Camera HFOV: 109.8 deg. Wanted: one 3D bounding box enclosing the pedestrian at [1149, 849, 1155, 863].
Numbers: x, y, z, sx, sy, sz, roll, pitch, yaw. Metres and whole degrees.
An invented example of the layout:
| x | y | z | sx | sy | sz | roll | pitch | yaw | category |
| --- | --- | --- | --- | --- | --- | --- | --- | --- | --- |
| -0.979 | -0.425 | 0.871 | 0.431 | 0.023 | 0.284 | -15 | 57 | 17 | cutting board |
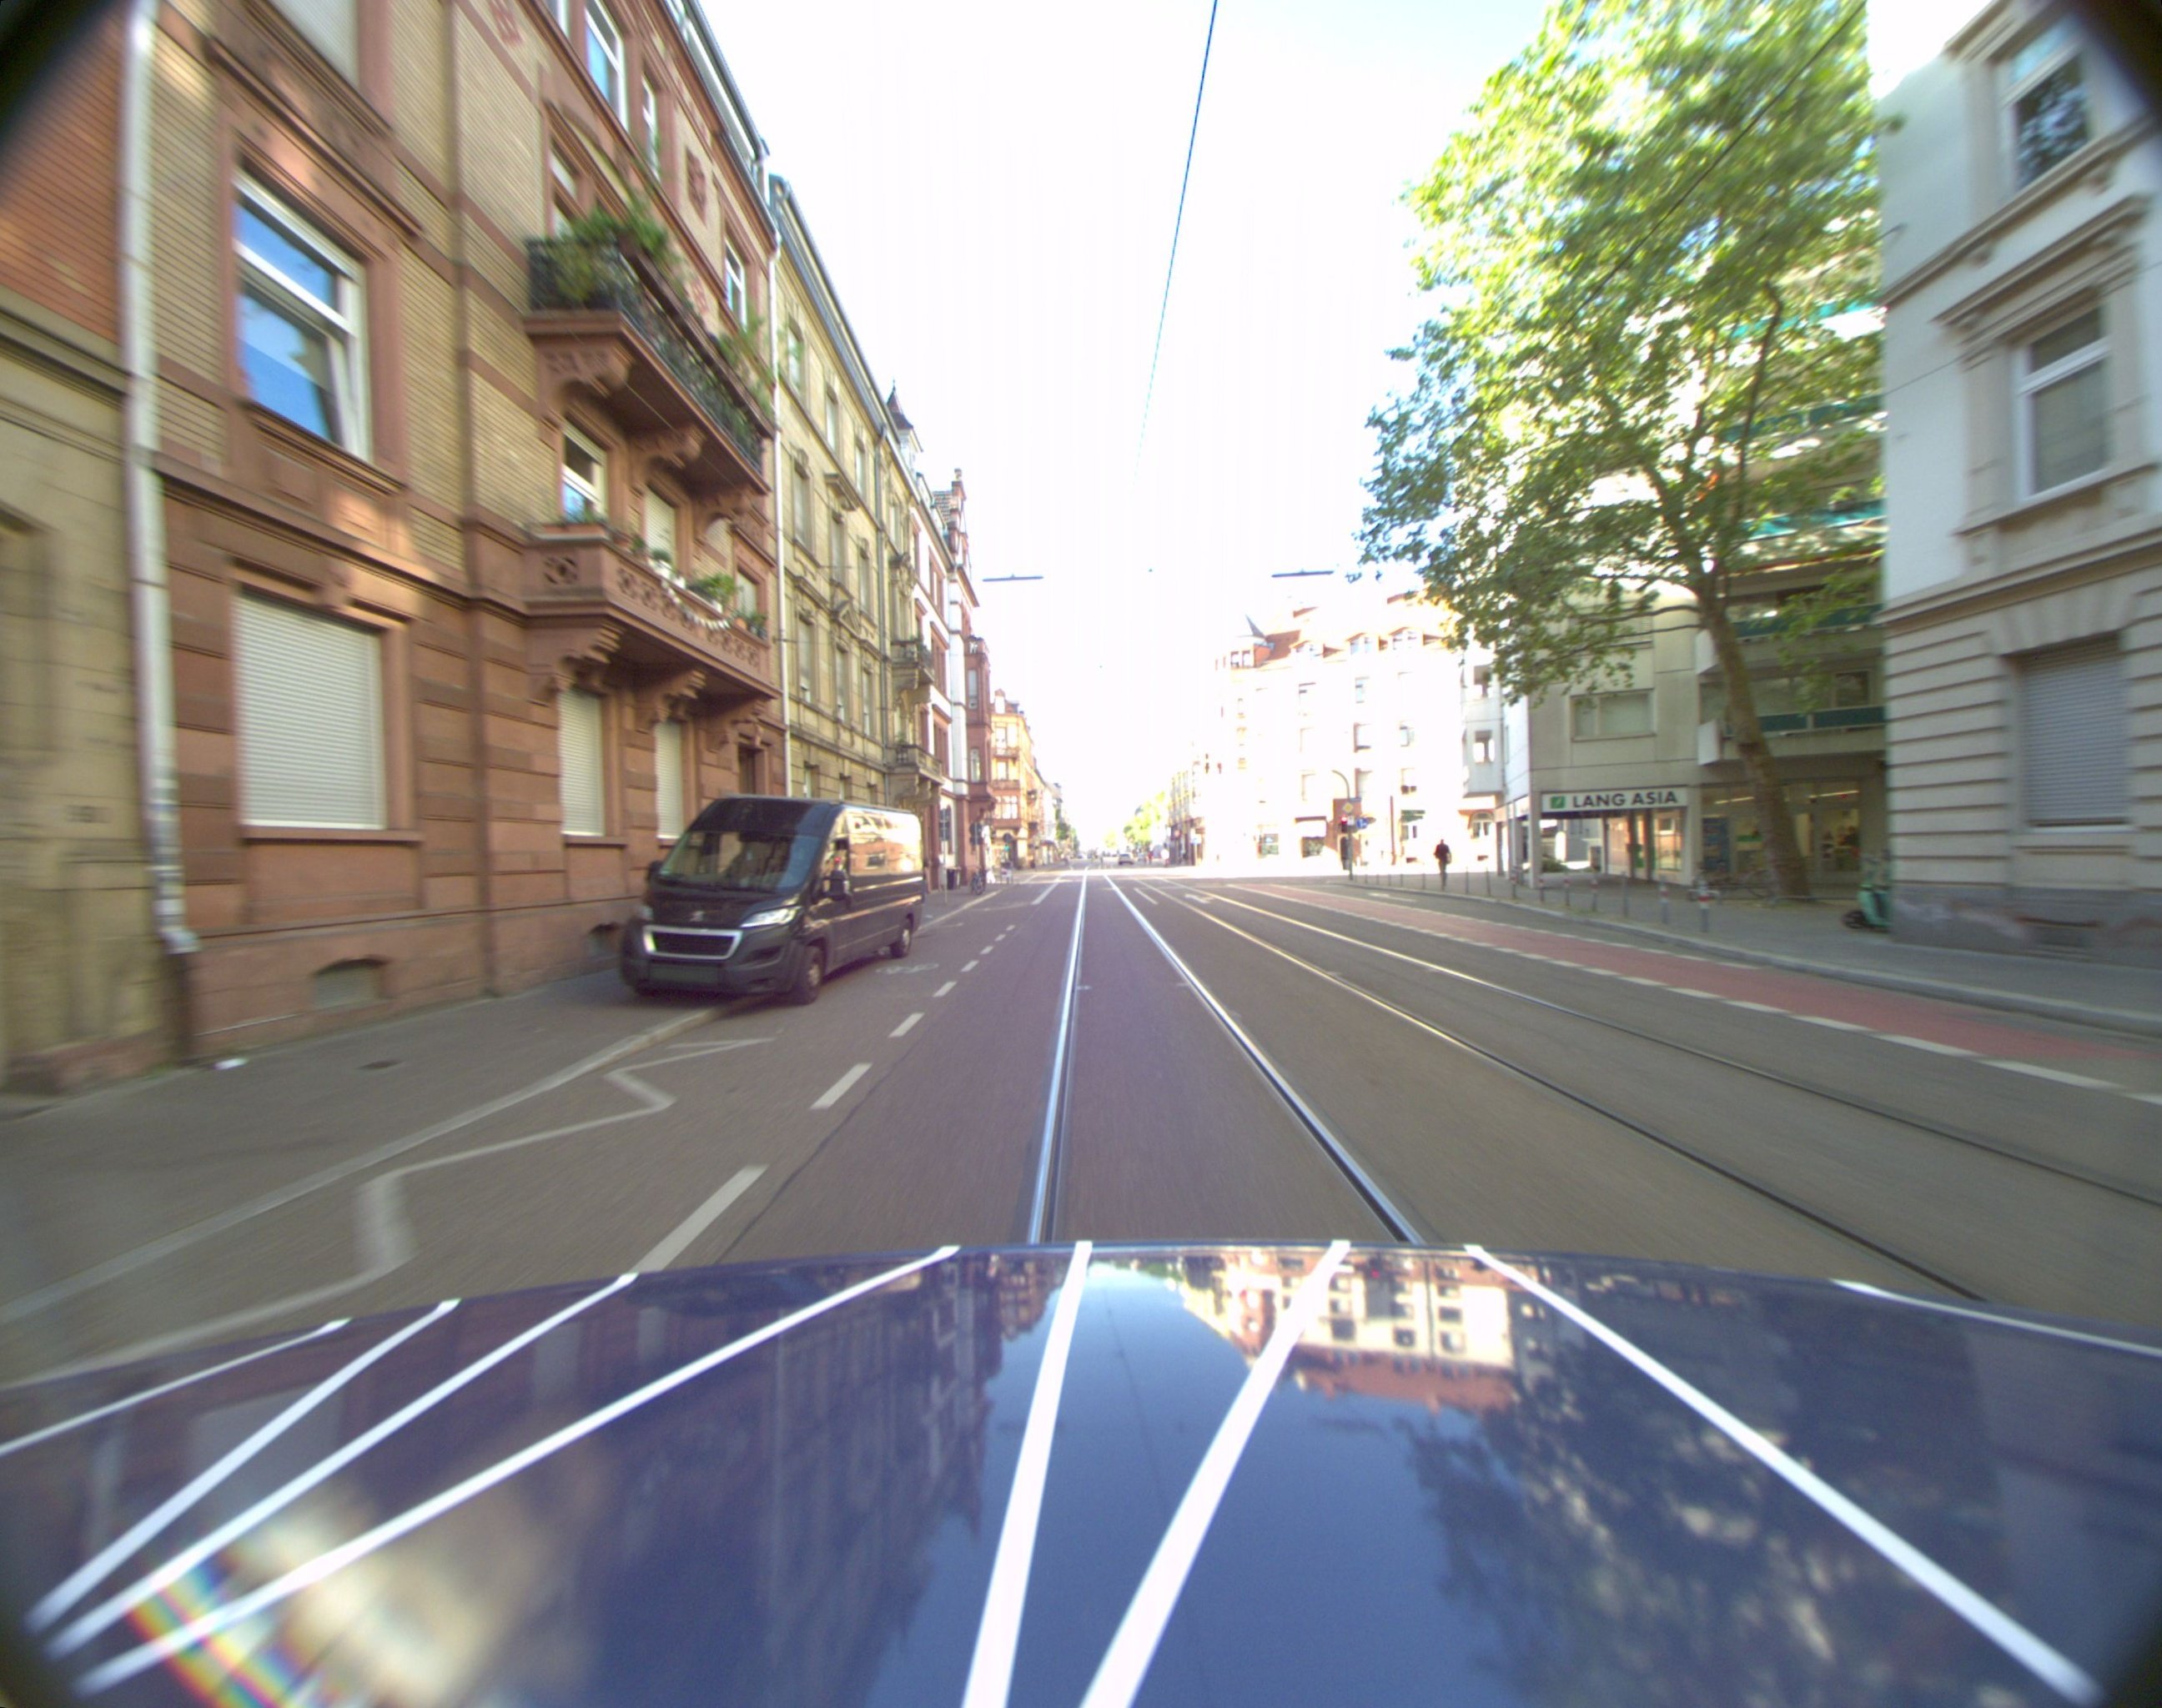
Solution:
| x | y | z | sx | sy | sz | roll | pitch | yaw | category |
| --- | --- | --- | --- | --- | --- | --- | --- | --- | --- |
| 10.208 | 0.301 | 108.856 | 0.756 | 2.002 | 0.718 | -3 | 1 | 0 | pedestrian |

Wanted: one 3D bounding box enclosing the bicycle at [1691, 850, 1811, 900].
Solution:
| x | y | z | sx | sy | sz | roll | pitch | yaw | category |
| --- | --- | --- | --- | --- | --- | --- | --- | --- | --- |
| 16.163 | 0.518 | 18.392 | 2.042 | 1.119 | 0.707 | -2 | 1 | 28 | bicycle |

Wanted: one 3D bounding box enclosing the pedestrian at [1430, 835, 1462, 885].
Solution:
| x | y | z | sx | sy | sz | roll | pitch | yaw | category |
| --- | --- | --- | --- | --- | --- | --- | --- | --- | --- |
| 13.995 | 0.216 | 29.133 | 0.795 | 1.837 | 0.809 | -3 | 1 | 4 | pedestrian |

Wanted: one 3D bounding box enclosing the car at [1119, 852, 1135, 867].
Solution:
| x | y | z | sx | sy | sz | roll | pitch | yaw | category |
| --- | --- | --- | --- | --- | --- | --- | --- | --- | --- |
| 6.598 | 0.747 | 109.123 | 1.998 | 2.002 | 4.000 | -1 | 0 | 0 | car |

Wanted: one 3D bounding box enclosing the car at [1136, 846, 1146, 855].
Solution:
| x | y | z | sx | sy | sz | roll | pitch | yaw | category |
| --- | --- | --- | --- | --- | --- | --- | --- | --- | --- |
| 11.721 | -0.623 | 148.432 | 1.719 | 1.696 | 4.000 | -1 | 0 | 0 | car |

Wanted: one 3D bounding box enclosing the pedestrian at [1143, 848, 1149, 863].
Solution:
| x | y | z | sx | sy | sz | roll | pitch | yaw | category |
| --- | --- | --- | --- | --- | --- | --- | --- | --- | --- |
| 8.923 | 0.211 | 104.636 | 0.756 | 2.002 | 0.718 | -3 | 1 | 0 | pedestrian |

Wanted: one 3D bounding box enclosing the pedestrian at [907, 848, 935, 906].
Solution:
| x | y | z | sx | sy | sz | roll | pitch | yaw | category |
| --- | --- | --- | --- | --- | --- | --- | --- | --- | --- |
| -5.124 | 0.736 | 24.391 | 0.635 | 1.813 | 0.755 | -3 | 1 | 0 | pedestrian |

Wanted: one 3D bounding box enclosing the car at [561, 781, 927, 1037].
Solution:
| x | y | z | sx | sy | sz | roll | pitch | yaw | category |
| --- | --- | --- | --- | --- | --- | --- | --- | --- | --- |
| -3.974 | 0.524 | 10.547 | 2.128 | 2.478 | 5.856 | -3 | 1 | 3 | car |

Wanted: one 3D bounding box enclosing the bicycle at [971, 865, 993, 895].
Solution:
| x | y | z | sx | sy | sz | roll | pitch | yaw | category |
| --- | --- | --- | --- | --- | --- | --- | --- | --- | --- |
| -4.098 | 1.053 | 31.469 | 0.647 | 1.143 | 1.688 | -1 | 0 | 0 | bicycle |

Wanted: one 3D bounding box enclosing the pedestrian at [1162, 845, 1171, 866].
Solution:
| x | y | z | sx | sy | sz | roll | pitch | yaw | category |
| --- | --- | --- | --- | --- | --- | --- | --- | --- | --- |
| 8.398 | 0.131 | 74.827 | 0.756 | 2.002 | 0.718 | -3 | 1 | 0 | pedestrian |

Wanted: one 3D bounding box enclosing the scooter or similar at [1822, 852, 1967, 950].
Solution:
| x | y | z | sx | sy | sz | roll | pitch | yaw | category |
| --- | --- | --- | --- | --- | --- | --- | --- | --- | --- |
| 11.550 | 0.627 | 10.848 | 0.580 | 1.267 | 1.383 | -3 | 1 | 0 | scooter or similar |
